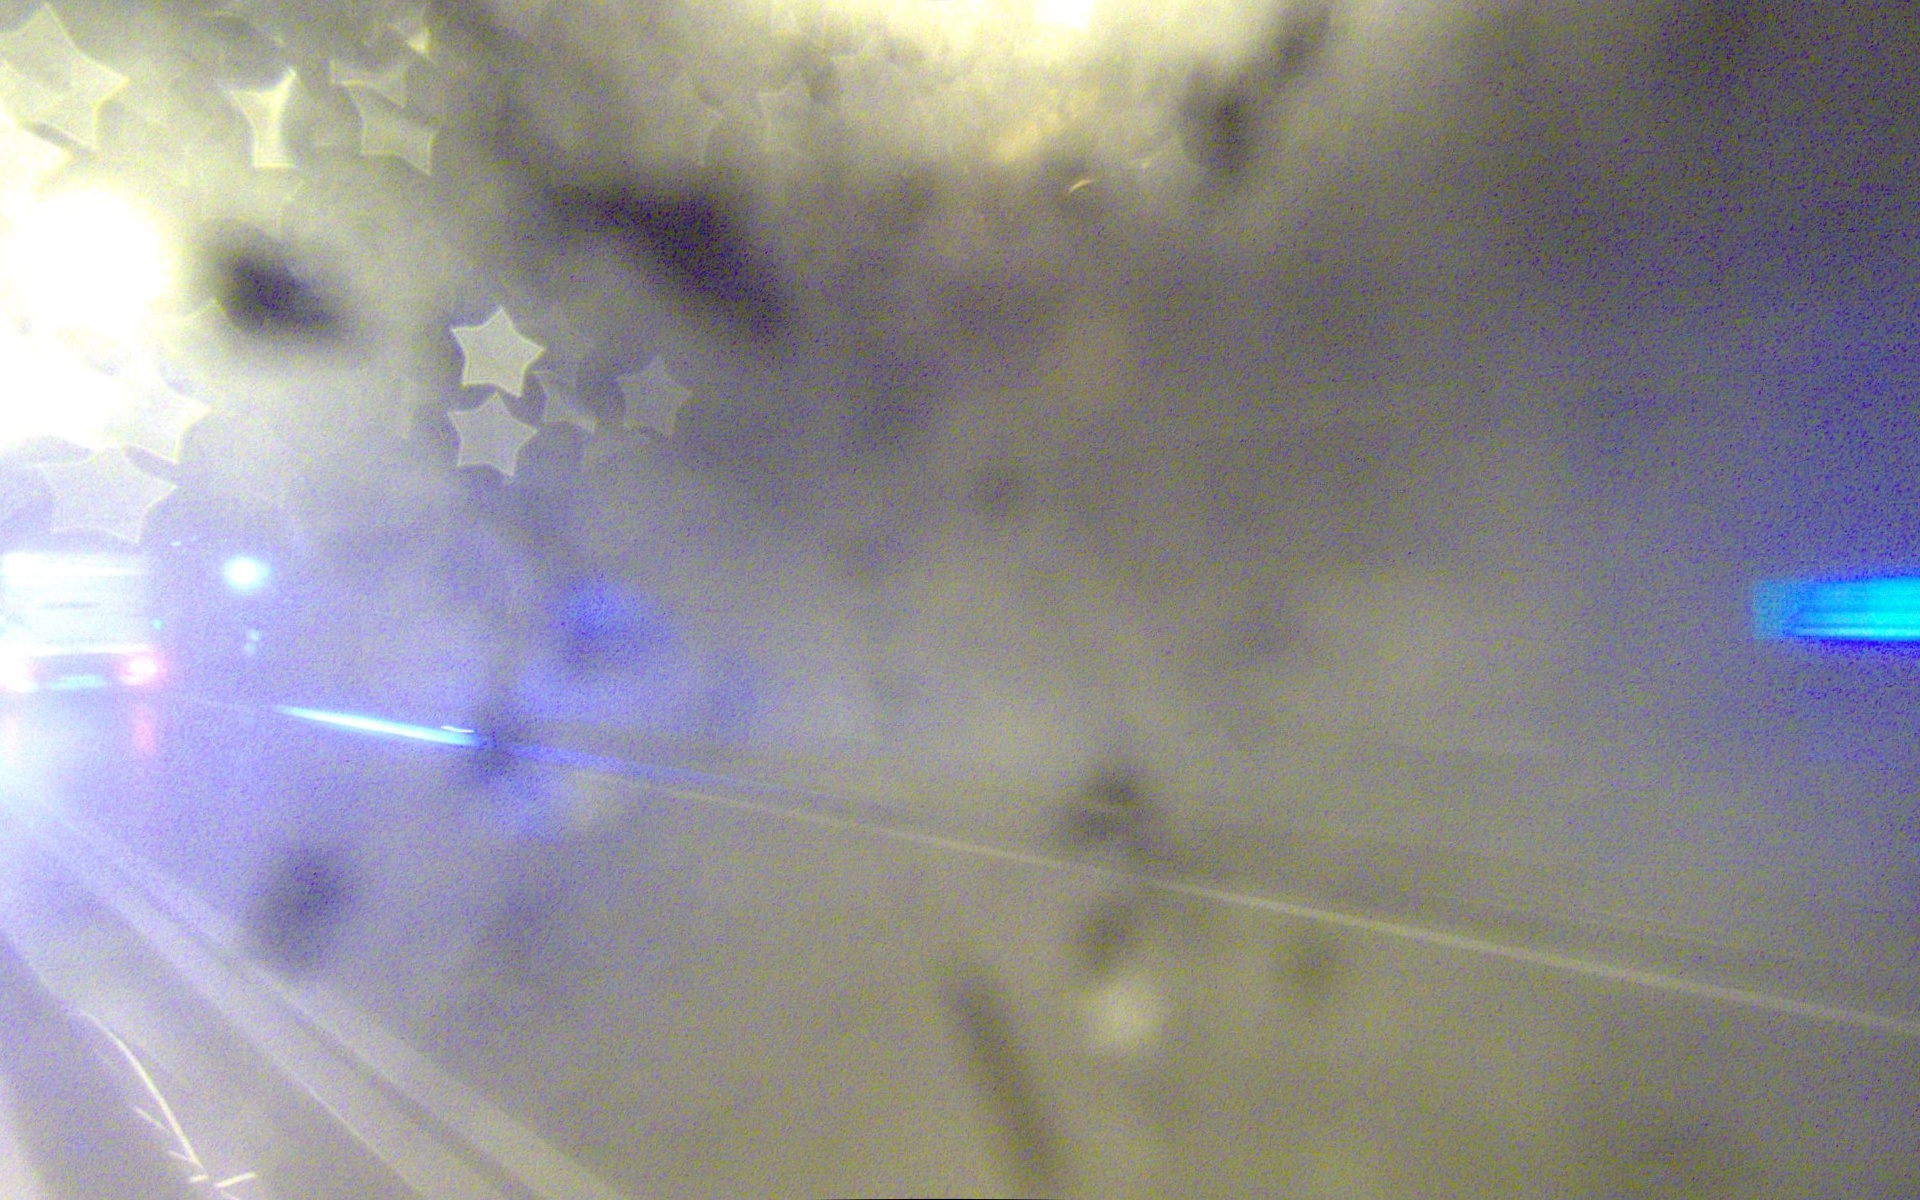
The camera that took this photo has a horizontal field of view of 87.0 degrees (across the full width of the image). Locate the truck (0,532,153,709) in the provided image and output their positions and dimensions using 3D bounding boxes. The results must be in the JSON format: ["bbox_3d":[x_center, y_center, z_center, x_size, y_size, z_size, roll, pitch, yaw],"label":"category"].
[{"bbox_3d":[-18.386,0.408,20.233,6.588,3.039,2.257,-2,-1,40],"label":"truck"}]
